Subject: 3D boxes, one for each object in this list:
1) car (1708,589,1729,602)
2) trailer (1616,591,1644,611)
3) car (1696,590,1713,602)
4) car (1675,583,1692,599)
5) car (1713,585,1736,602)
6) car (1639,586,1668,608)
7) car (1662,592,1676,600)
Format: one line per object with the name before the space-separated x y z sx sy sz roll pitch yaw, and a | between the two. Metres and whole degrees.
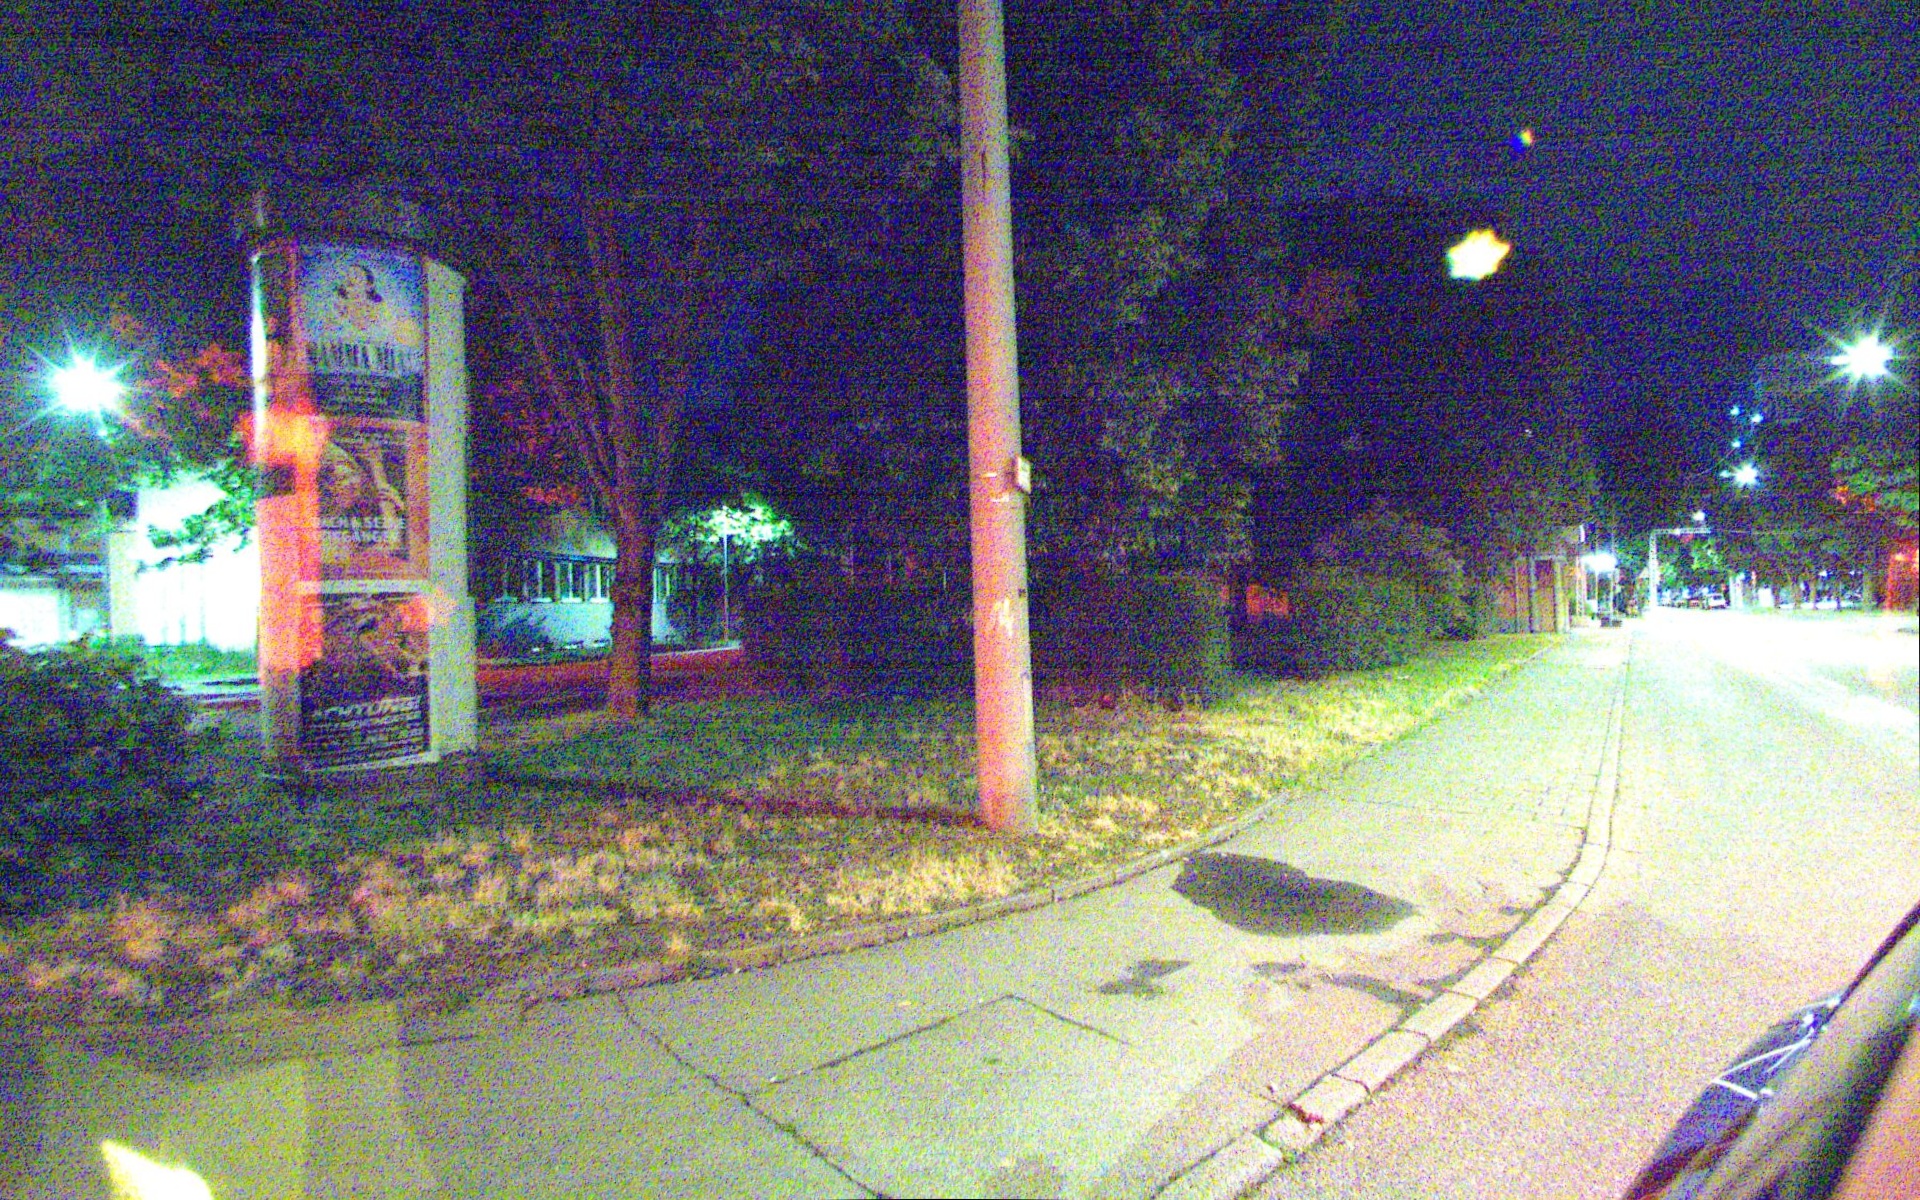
car | 91.690 -0.551 122.367 1.815 1.450 3.684 -5 -3 35
trailer | 54.094 0.062 81.645 1.596 1.514 3.683 -3 -2 37
car | 103.489 -0.591 140.694 1.815 1.668 3.684 -1 0 35
car | 127.373 -1.552 178.146 1.990 2.540 4.898 -5 -3 32
car | 88.594 -0.712 117.319 1.871 1.832 3.684 -5 -3 35
car | 50.402 -0.215 73.553 1.582 1.480 3.748 -3 -1 36
car | 141.206 -0.818 201.575 1.813 1.450 3.689 -5 -2 32
